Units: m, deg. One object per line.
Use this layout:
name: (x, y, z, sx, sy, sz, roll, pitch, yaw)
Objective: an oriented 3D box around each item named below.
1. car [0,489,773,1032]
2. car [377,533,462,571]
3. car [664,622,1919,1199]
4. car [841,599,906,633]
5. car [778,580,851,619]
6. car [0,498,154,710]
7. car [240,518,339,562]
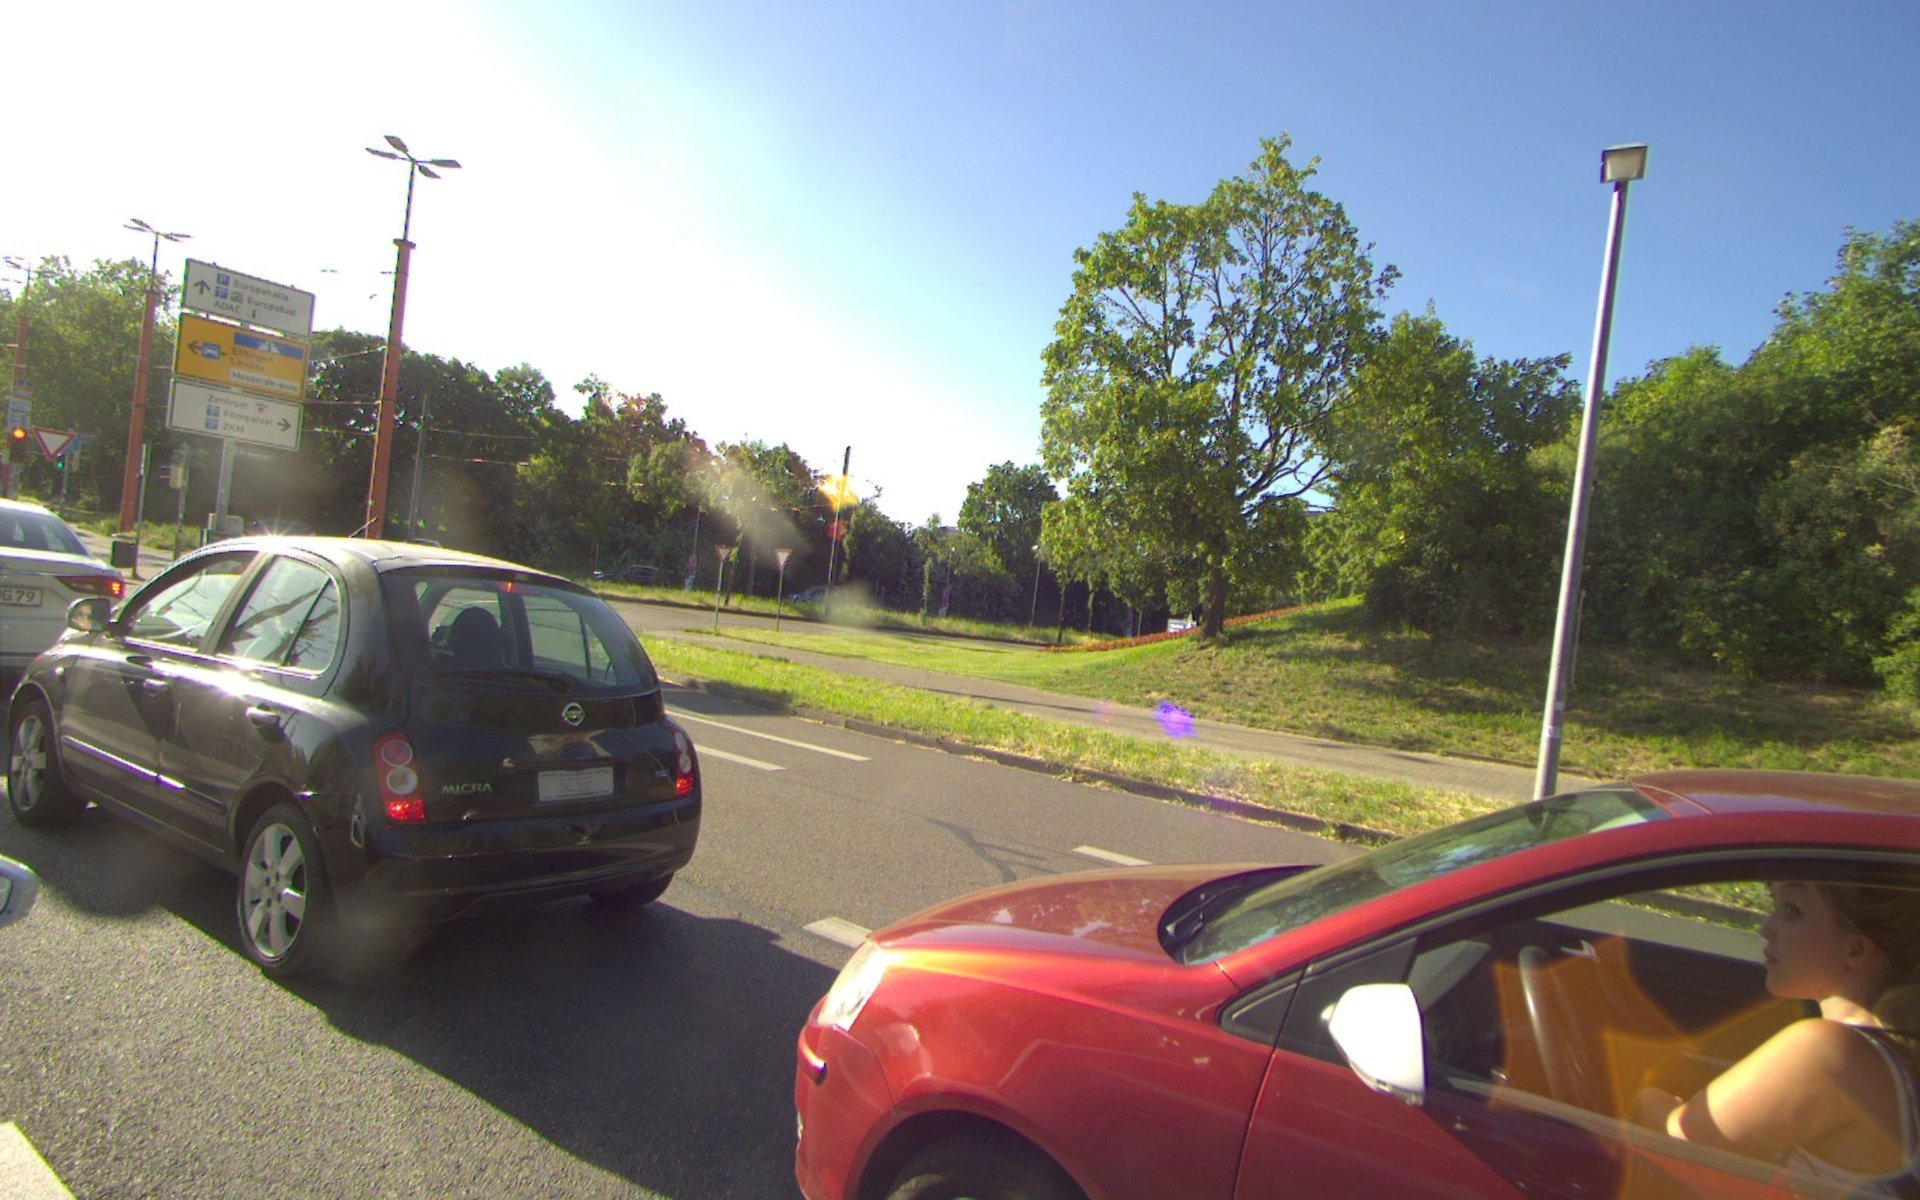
car: (-2.845, 0.461, 4.709, 3.555, 1.518, 1.657, 7, -2, 32)
car: (-29.873, -2.636, 55.613, 3.970, 1.546, 1.694, 8, -1, -30)
car: (1.395, 1.016, 1.870, 3.700, 1.455, 1.644, 6, -2, 33)
car: (-6.347, 1.191, 74.065, 4.217, 1.873, 1.984, 8, -1, -30)
car: (-9.804, -0.040, 67.800, 4.217, 2.038, 1.984, 8, -1, -30)
car: (-8.355, -0.173, 8.019, 4.130, 1.454, 1.723, 7, -1, 33)
car: (-36.810, -3.273, 55.372, 4.260, 1.725, 1.832, 8, -1, -31)
